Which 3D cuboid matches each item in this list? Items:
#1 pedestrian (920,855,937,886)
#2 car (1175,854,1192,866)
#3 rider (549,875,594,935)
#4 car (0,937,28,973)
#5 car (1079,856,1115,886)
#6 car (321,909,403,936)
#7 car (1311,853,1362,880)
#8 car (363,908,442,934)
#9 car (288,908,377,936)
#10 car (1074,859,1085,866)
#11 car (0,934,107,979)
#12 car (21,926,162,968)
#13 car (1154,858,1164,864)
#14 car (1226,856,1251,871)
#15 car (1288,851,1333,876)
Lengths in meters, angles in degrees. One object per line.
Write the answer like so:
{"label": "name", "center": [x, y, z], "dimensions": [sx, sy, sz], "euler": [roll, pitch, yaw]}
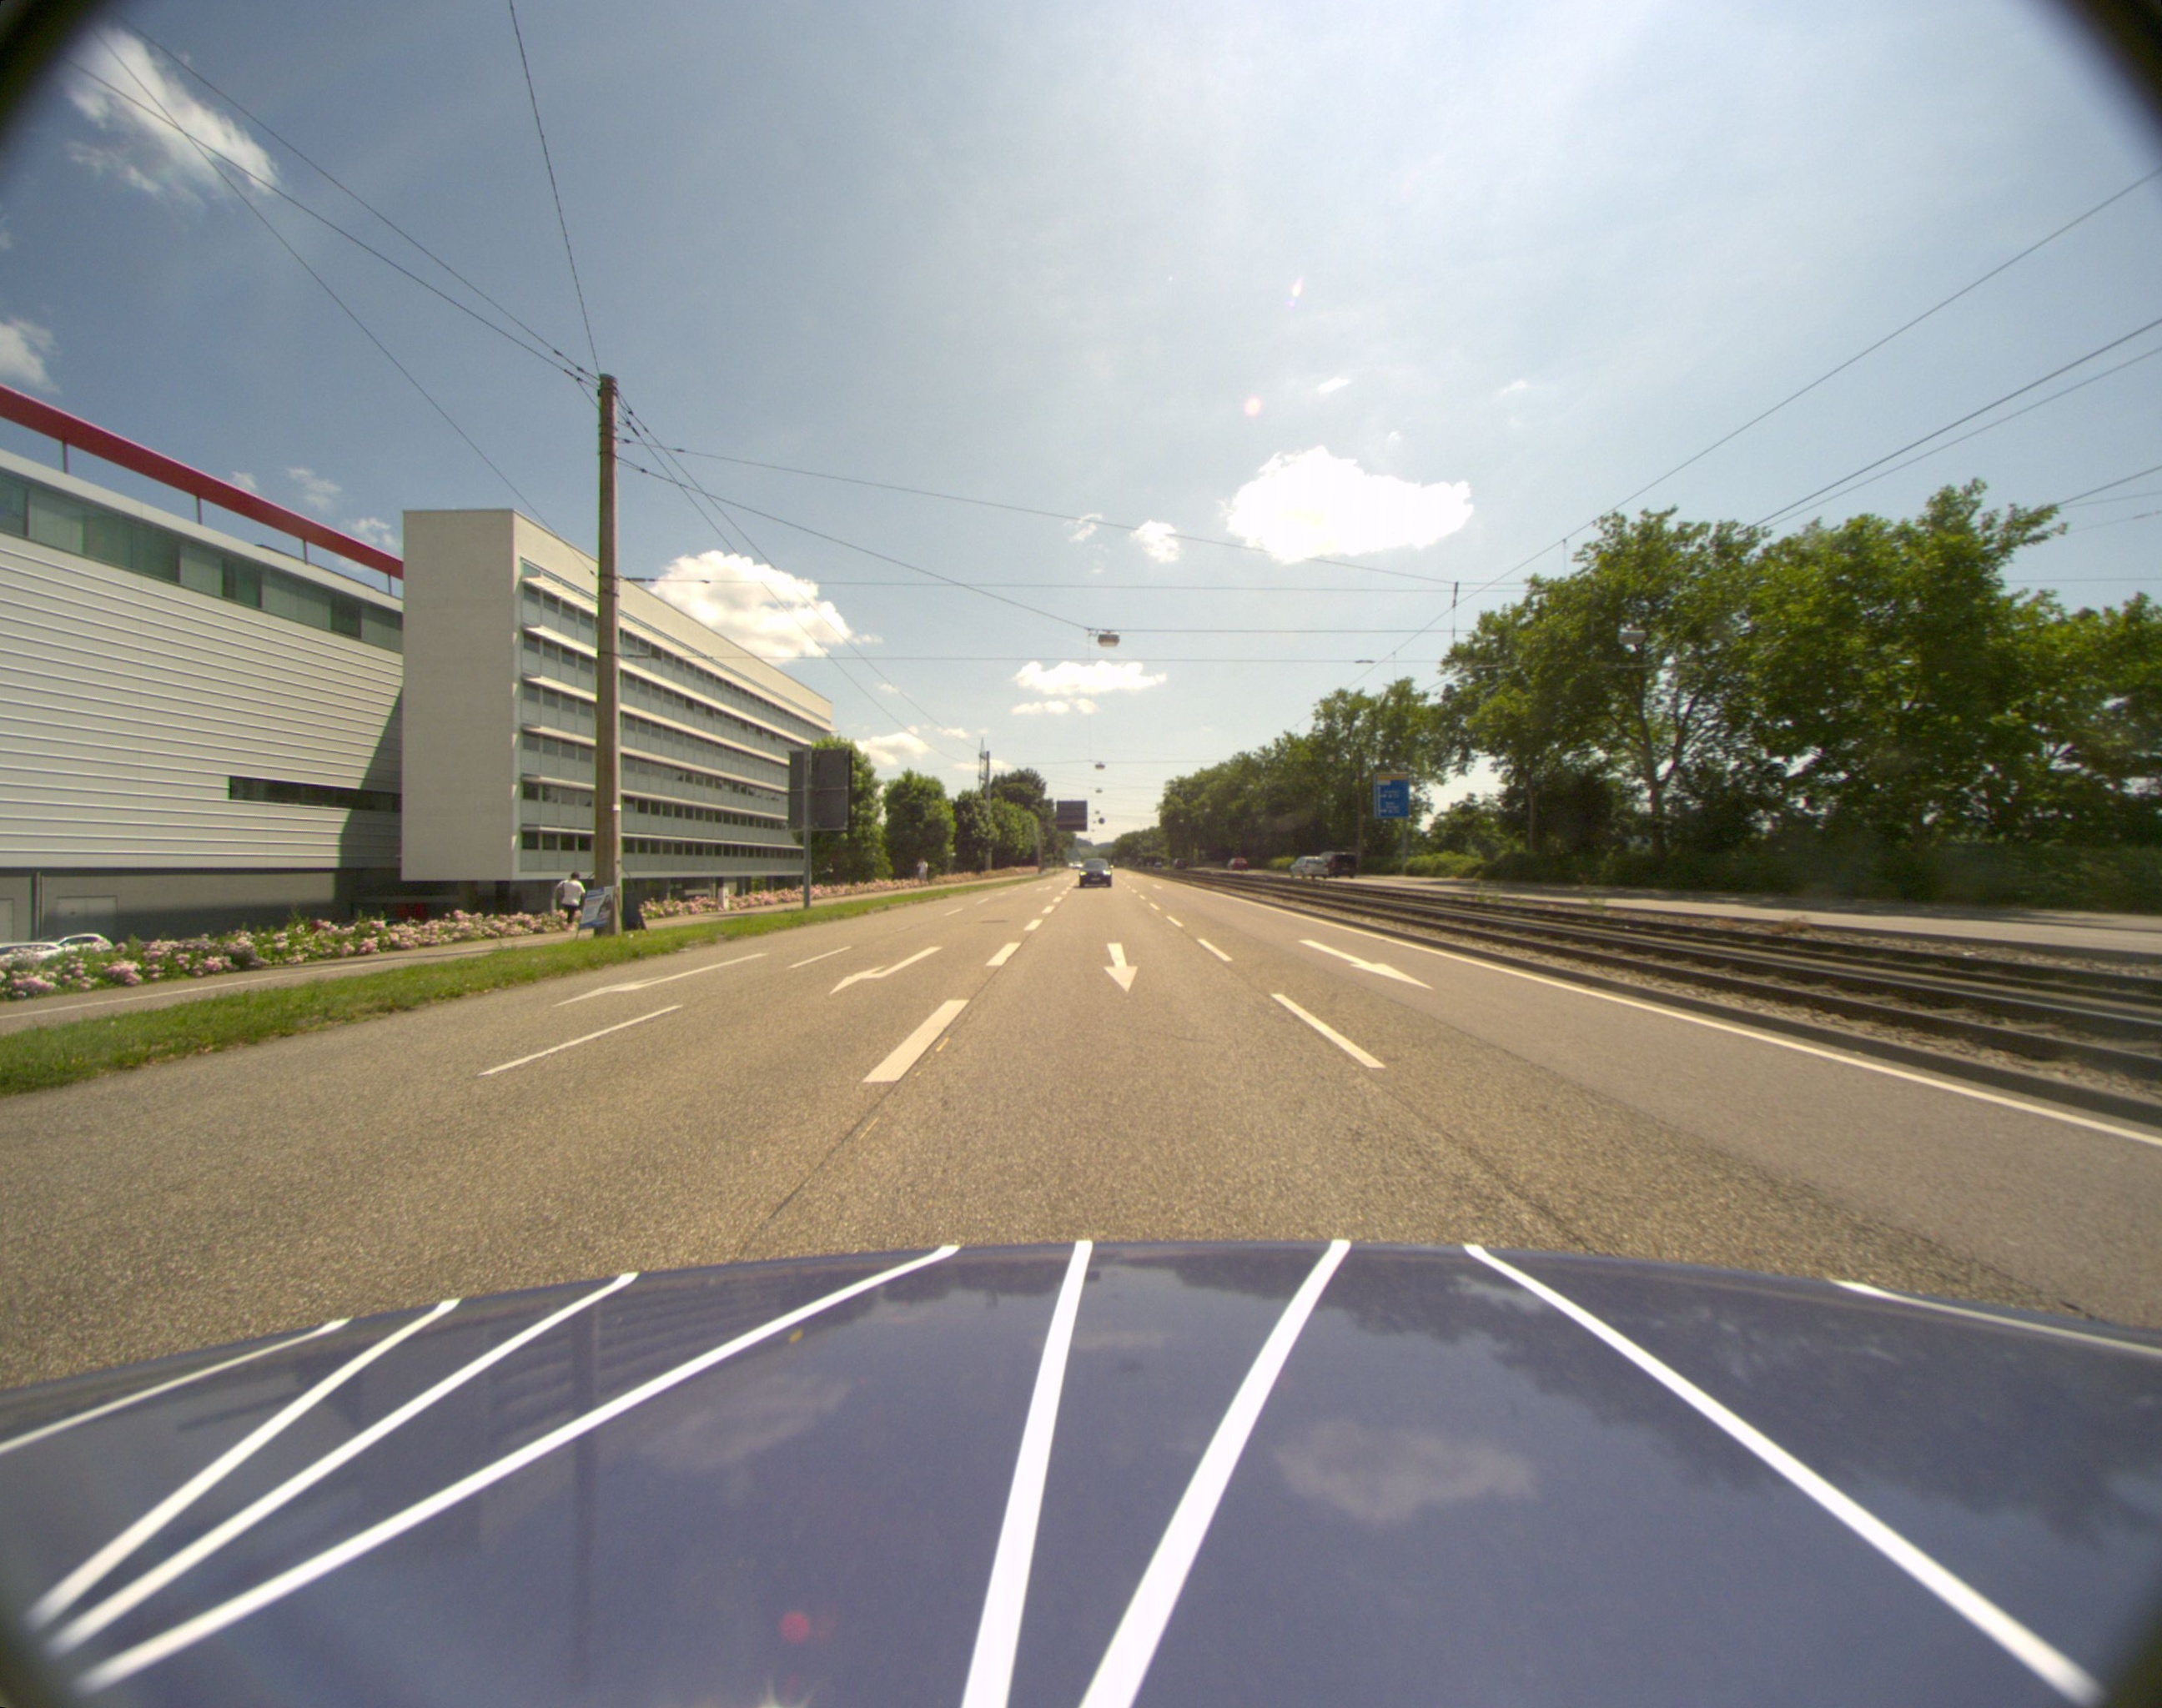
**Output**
{"label": "pedestrian", "center": [-9.346, 1.012, 46.484], "dimensions": [0.758, 1.838, 0.931], "euler": [-2, 1, 3]}
{"label": "car", "center": [16.330, 1.016, 121.455], "dimensions": [1.999, 1.820, 4.969], "euler": [1, 0, -1]}
{"label": "rider", "center": [-12.695, 1.256, 18.949], "dimensions": [0.671, 1.449, 0.618], "euler": [-2, 1, 1]}
{"label": "car", "center": [-51.343, 4.794, 34.273], "dimensions": [1.998, 1.602, 4.000], "euler": [-2, 0, 1]}
{"label": "car", "center": [0.881, 0.908, 42.515], "dimensions": [1.898, 1.564, 4.511], "euler": [-1, 0, 1]}
{"label": "car", "center": [-48.073, 4.543, 50.900], "dimensions": [1.648, 1.377, 4.000], "euler": [-2, 0, 1]}
{"label": "car", "center": [18.651, 0.894, 55.707], "dimensions": [1.999, 1.820, 4.969], "euler": [1, 0, -1]}
{"label": "car", "center": [-45.392, 4.462, 50.951], "dimensions": [1.609, 1.314, 4.000], "euler": [-2, 0, 1]}
{"label": "car", "center": [-50.546, 4.580, 51.400], "dimensions": [1.998, 1.438, 4.000], "euler": [-2, 0, 1]}
{"label": "car", "center": [-0.262, 1.550, 140.094], "dimensions": [1.896, 1.331, 4.000], "euler": [-2, 0, 1]}
{"label": "car", "center": [-48.633, 4.727, 34.533], "dimensions": [1.998, 1.602, 5.146], "euler": [-2, 0, 1]}
{"label": "car", "center": [-51.218, 4.770, 39.481], "dimensions": [1.998, 1.602, 4.000], "euler": [-2, 0, 1]}
{"label": "car", "center": [19.664, 1.778, 191.584], "dimensions": [1.803, 1.495, 4.735], "euler": [1, 0, -1]}
{"label": "car", "center": [18.571, 1.070, 89.862], "dimensions": [1.999, 1.660, 4.468], "euler": [1, 0, -1]}
{"label": "car", "center": [15.234, 0.609, 50.674], "dimensions": [1.690, 1.574, 4.058], "euler": [2, 0, -1]}
